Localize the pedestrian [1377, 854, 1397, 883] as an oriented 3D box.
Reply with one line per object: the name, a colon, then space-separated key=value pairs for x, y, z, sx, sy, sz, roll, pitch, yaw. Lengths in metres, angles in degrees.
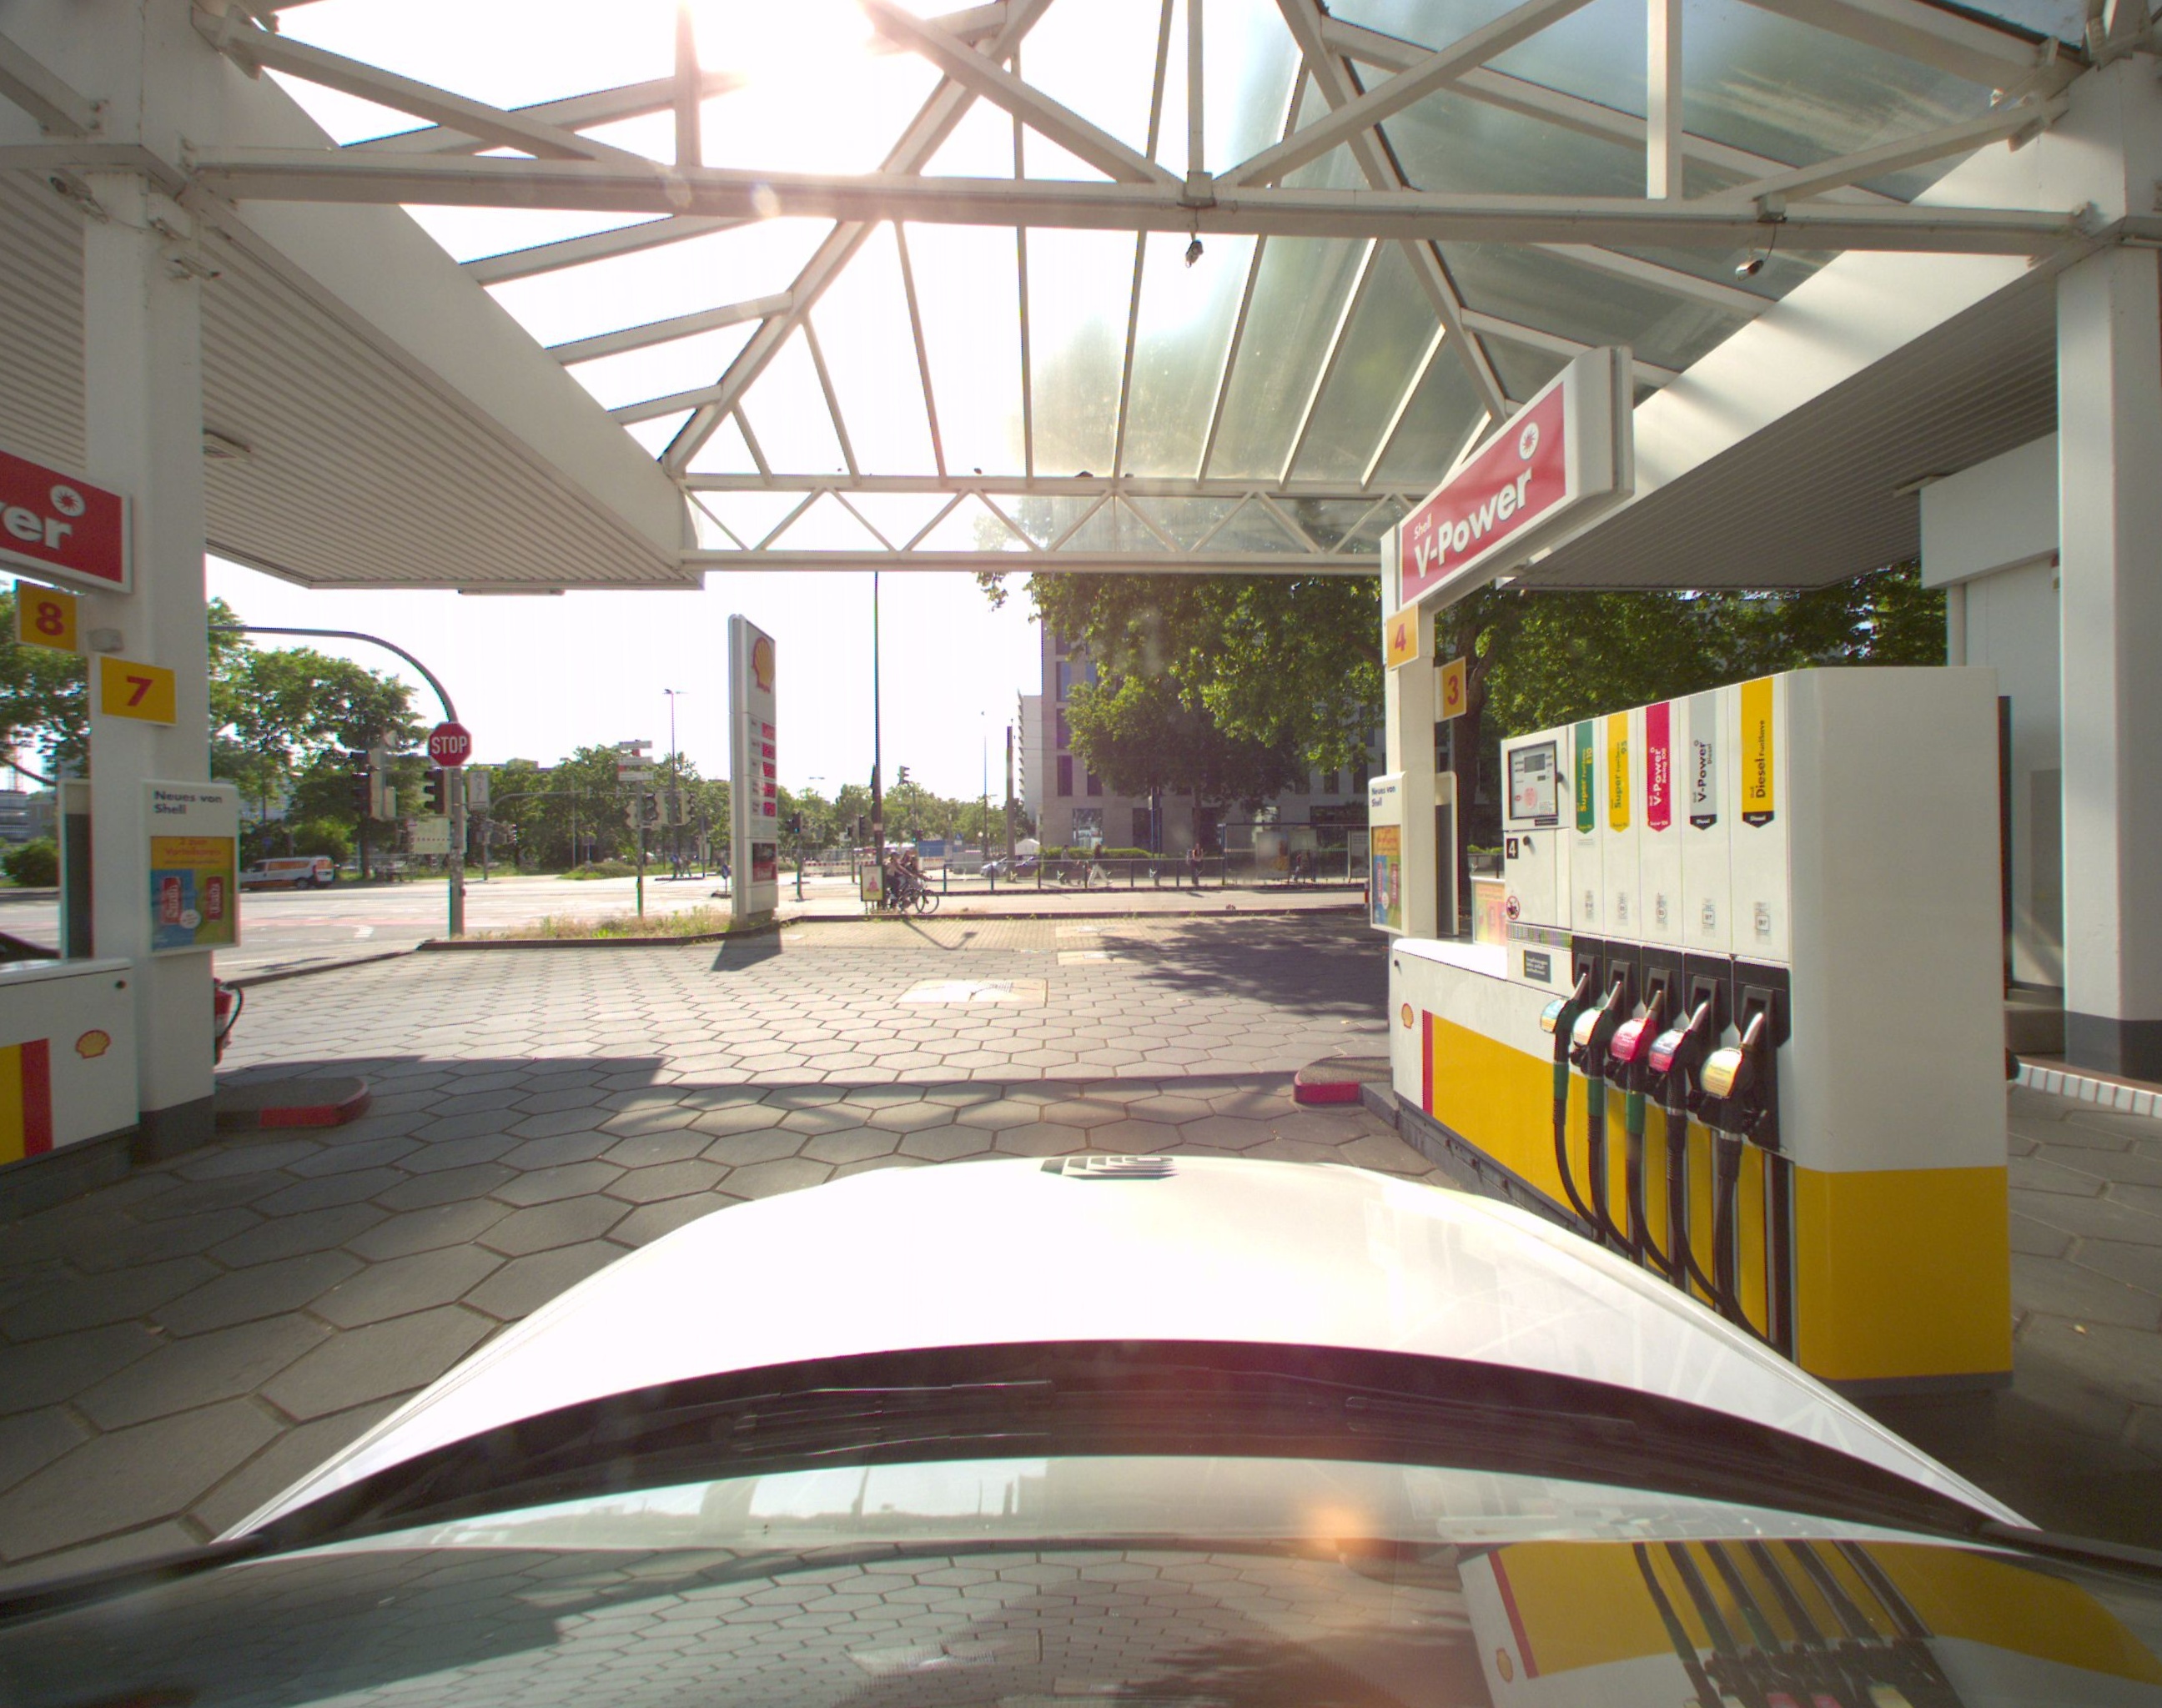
pedestrian: x=12.214 y=0.564 z=32.505 sx=0.625 sy=1.138 sz=0.524 roll=-1 pitch=0 yaw=4

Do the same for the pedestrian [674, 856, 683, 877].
pedestrian: x=-28.486 y=0.875 z=57.618 sx=0.566 sy=1.469 sz=0.509 roll=-1 pitch=0 yaw=-27

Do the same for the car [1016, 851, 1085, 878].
car: x=-1.834 y=0.603 z=48.274 sx=3.984 sy=1.552 sz=1.698 roll=-1 pitch=0 yaw=-8

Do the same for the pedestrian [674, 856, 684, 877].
pedestrian: x=-28.880 y=0.889 z=58.494 sx=0.566 sy=1.469 sz=0.509 roll=-1 pitch=0 yaw=-27

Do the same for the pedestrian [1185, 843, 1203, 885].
pedestrian: x=4.418 y=0.380 z=31.867 sx=0.582 sy=1.591 sz=0.669 roll=-1 pitch=2 yaw=-3

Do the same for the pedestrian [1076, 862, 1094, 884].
pedestrian: x=0.158 y=0.775 z=32.994 sx=0.687 sy=0.880 sz=0.504 roll=-1 pitch=0 yaw=6

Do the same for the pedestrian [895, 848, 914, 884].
pedestrian: x=-7.619 y=0.516 z=35.104 sx=0.647 sy=1.540 sz=0.504 roll=-1 pitch=0 yaw=6

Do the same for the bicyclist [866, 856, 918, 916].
bicyclist: x=-5.104 y=0.854 z=21.992 sx=1.160 sy=1.580 sz=0.643 roll=-1 pitch=0 yaw=18

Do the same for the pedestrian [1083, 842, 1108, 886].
pedestrian: x=0.575 y=0.380 z=31.971 sx=0.927 sy=1.683 sz=0.504 roll=-1 pitch=0 yaw=6

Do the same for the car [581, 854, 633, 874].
car: x=-48.365 y=1.016 z=83.155 sx=3.972 sy=1.816 sz=2.001 roll=-3 pitch=0 yaw=1

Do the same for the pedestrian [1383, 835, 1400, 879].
pedestrian: x=12.355 y=0.129 z=32.447 sx=0.497 sy=1.735 sz=0.406 roll=-1 pitch=0 yaw=0

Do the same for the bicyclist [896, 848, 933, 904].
bicyclist: x=-4.706 y=0.618 z=23.044 sx=0.855 sy=1.544 sz=0.538 roll=-1 pitch=-1 yaw=25

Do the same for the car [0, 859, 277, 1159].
car: x=-6.408 y=0.827 z=3.630 sx=1.739 sy=1.532 sz=3.996 roll=-2 pitch=0 yaw=-3

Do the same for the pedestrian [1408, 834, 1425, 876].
pedestrian: x=14.011 y=0.047 z=34.006 sx=0.497 sy=1.735 sz=0.524 roll=-1 pitch=0 yaw=0

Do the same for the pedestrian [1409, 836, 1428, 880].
pedestrian: x=13.454 y=0.170 z=32.455 sx=0.497 sy=1.735 sz=0.524 roll=-1 pitch=0 yaw=0

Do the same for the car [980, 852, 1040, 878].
car: x=-4.501 y=0.677 z=51.154 sx=3.680 sy=1.552 sz=1.587 roll=-1 pitch=0 yaw=-8

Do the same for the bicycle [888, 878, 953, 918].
bicycle: x=-4.539 y=1.223 z=23.008 sx=1.844 sy=1.082 sz=0.528 roll=-1 pitch=0 yaw=25

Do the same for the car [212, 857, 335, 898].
car: x=-45.584 y=1.297 z=46.104 sx=4.442 sy=2.013 sz=1.989 roll=-3 pitch=0 yaw=-17

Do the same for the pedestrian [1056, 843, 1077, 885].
pedestrian: x=-0.577 y=0.394 z=33.071 sx=0.772 sy=1.683 sz=0.504 roll=-1 pitch=0 yaw=6

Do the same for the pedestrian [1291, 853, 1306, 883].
pedestrian: x=8.606 y=0.550 z=32.239 sx=0.497 sy=1.138 sz=0.524 roll=-1 pitch=0 yaw=4

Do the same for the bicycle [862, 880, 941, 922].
bicycle: x=-4.831 y=1.252 z=21.904 sx=2.003 sy=1.082 sz=0.643 roll=-1 pitch=0 yaw=17
